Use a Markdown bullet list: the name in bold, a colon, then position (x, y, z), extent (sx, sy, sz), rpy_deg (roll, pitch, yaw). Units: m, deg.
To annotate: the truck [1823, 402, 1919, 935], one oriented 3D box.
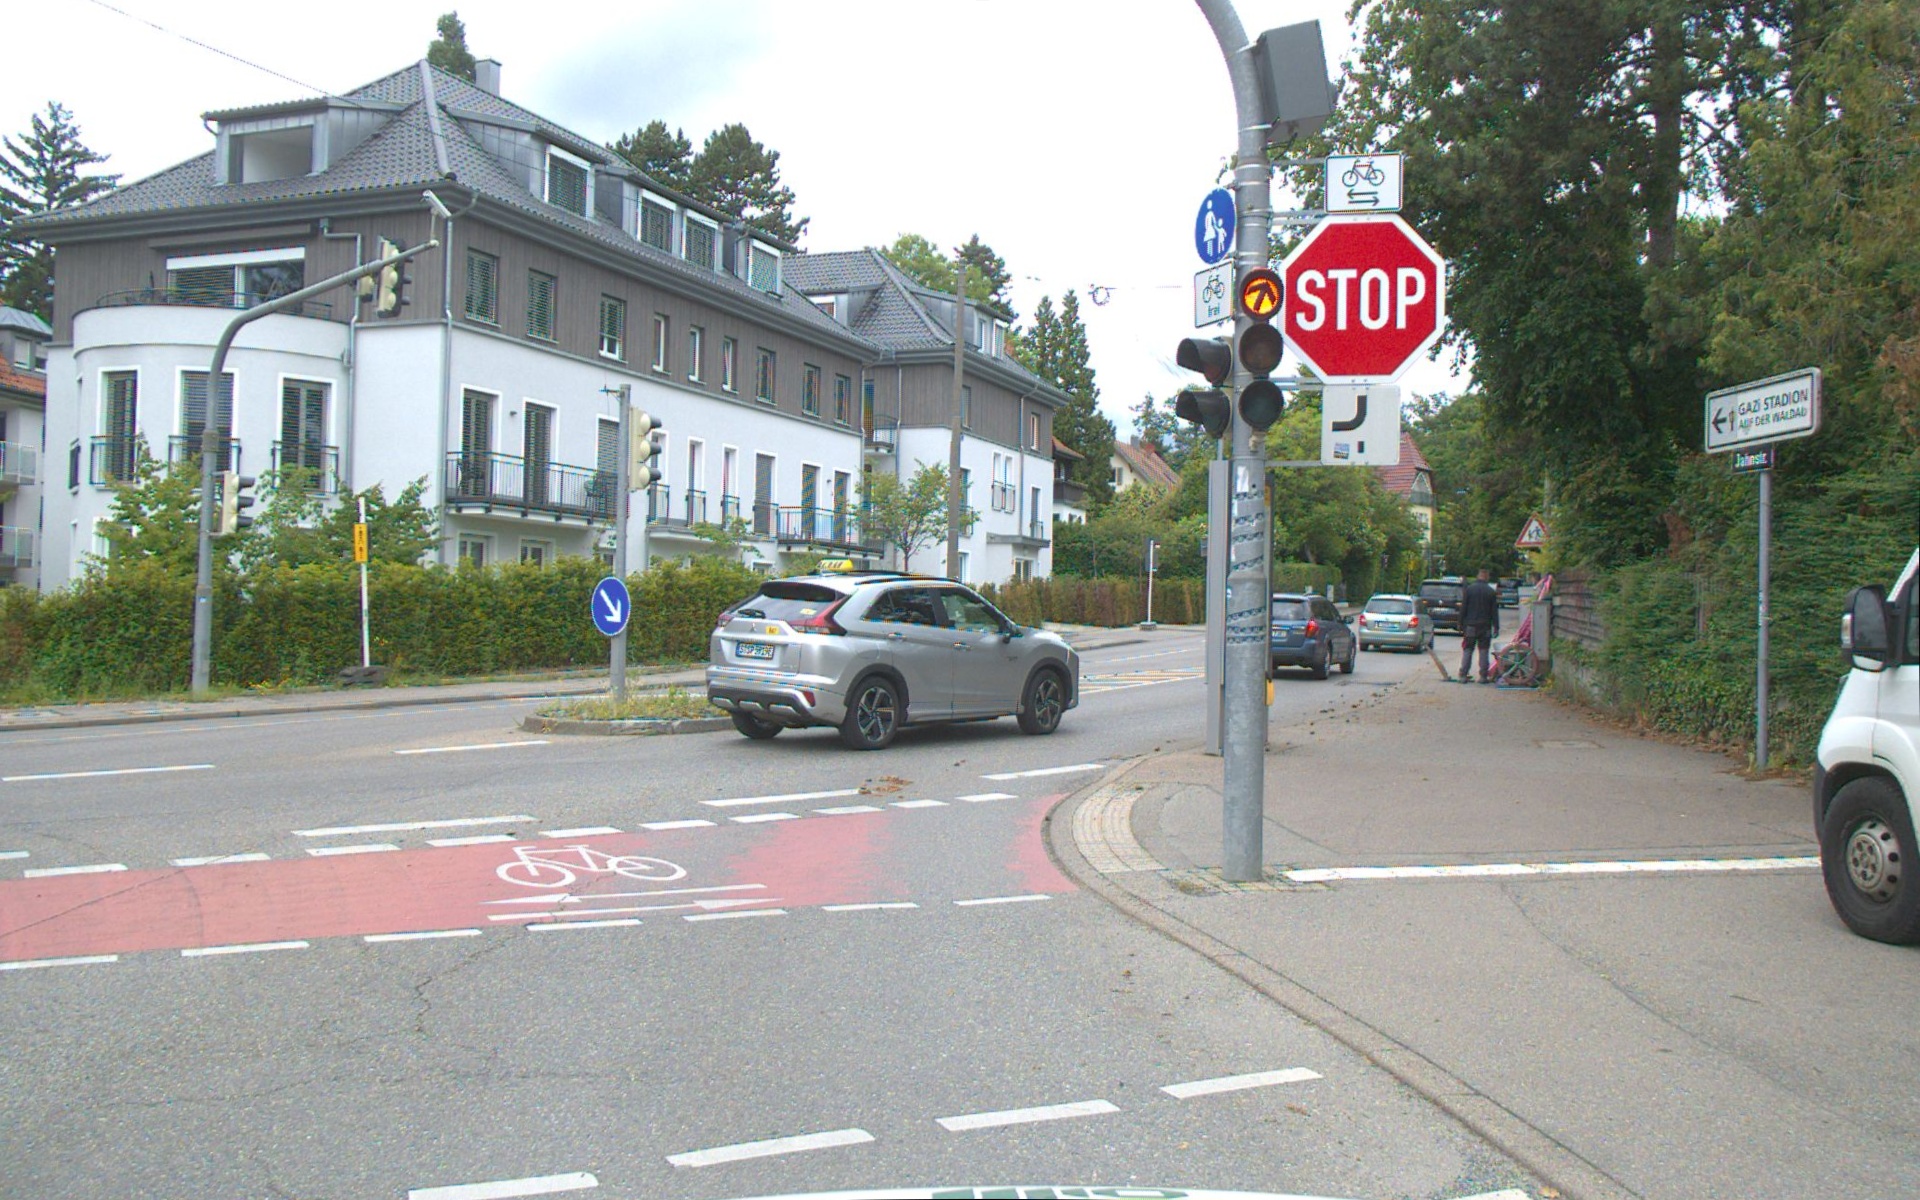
- **truck**: position (5.155, 0.305, 5.017), extent (2.162, 2.283, 5.724), rpy_deg (1, 0, 1)
